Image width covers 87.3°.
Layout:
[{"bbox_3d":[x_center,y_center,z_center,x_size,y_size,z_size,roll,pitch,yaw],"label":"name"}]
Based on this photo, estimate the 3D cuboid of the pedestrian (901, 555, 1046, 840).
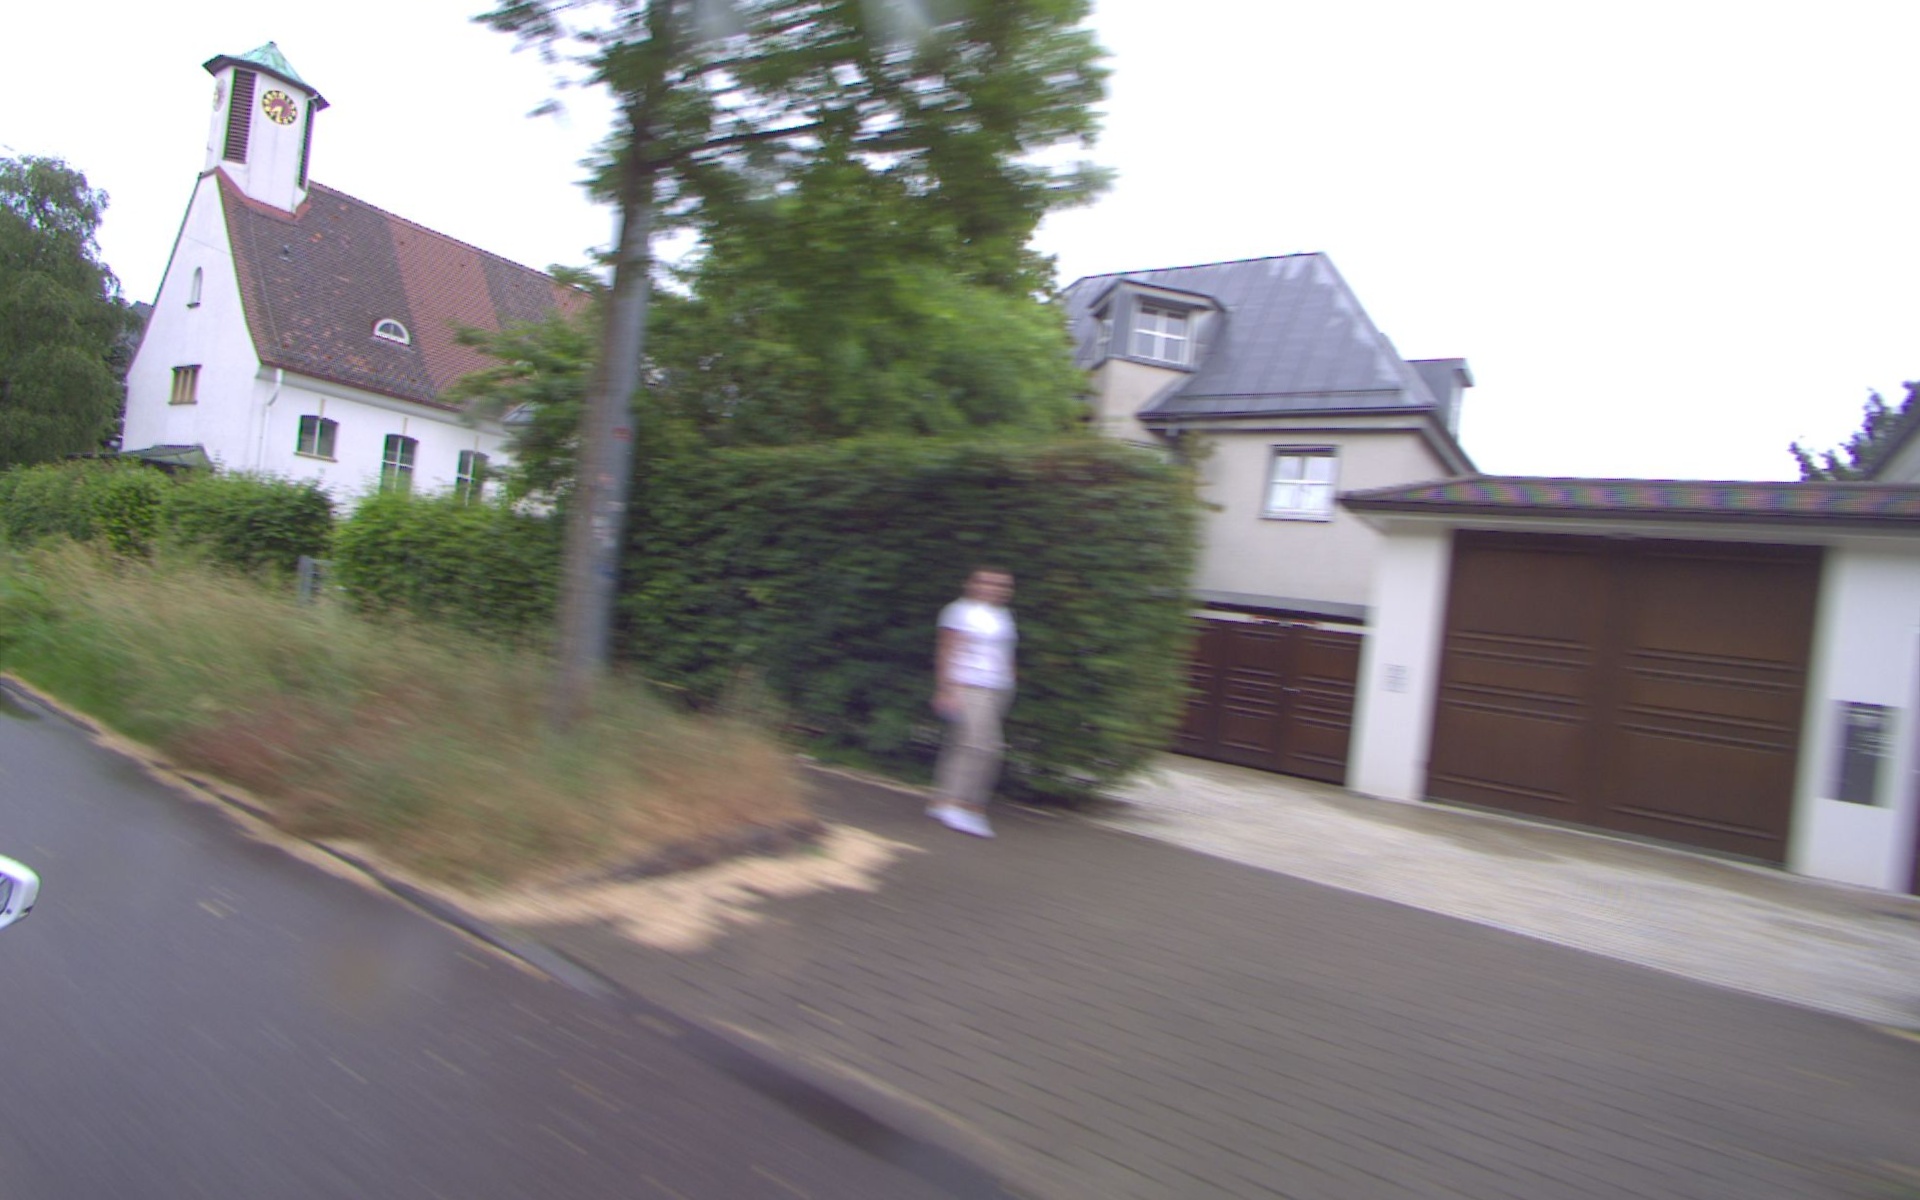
[{"bbox_3d":[0.089,0.614,6.526,0.509,1.729,0.560,7,0,43],"label":"pedestrian"}]
